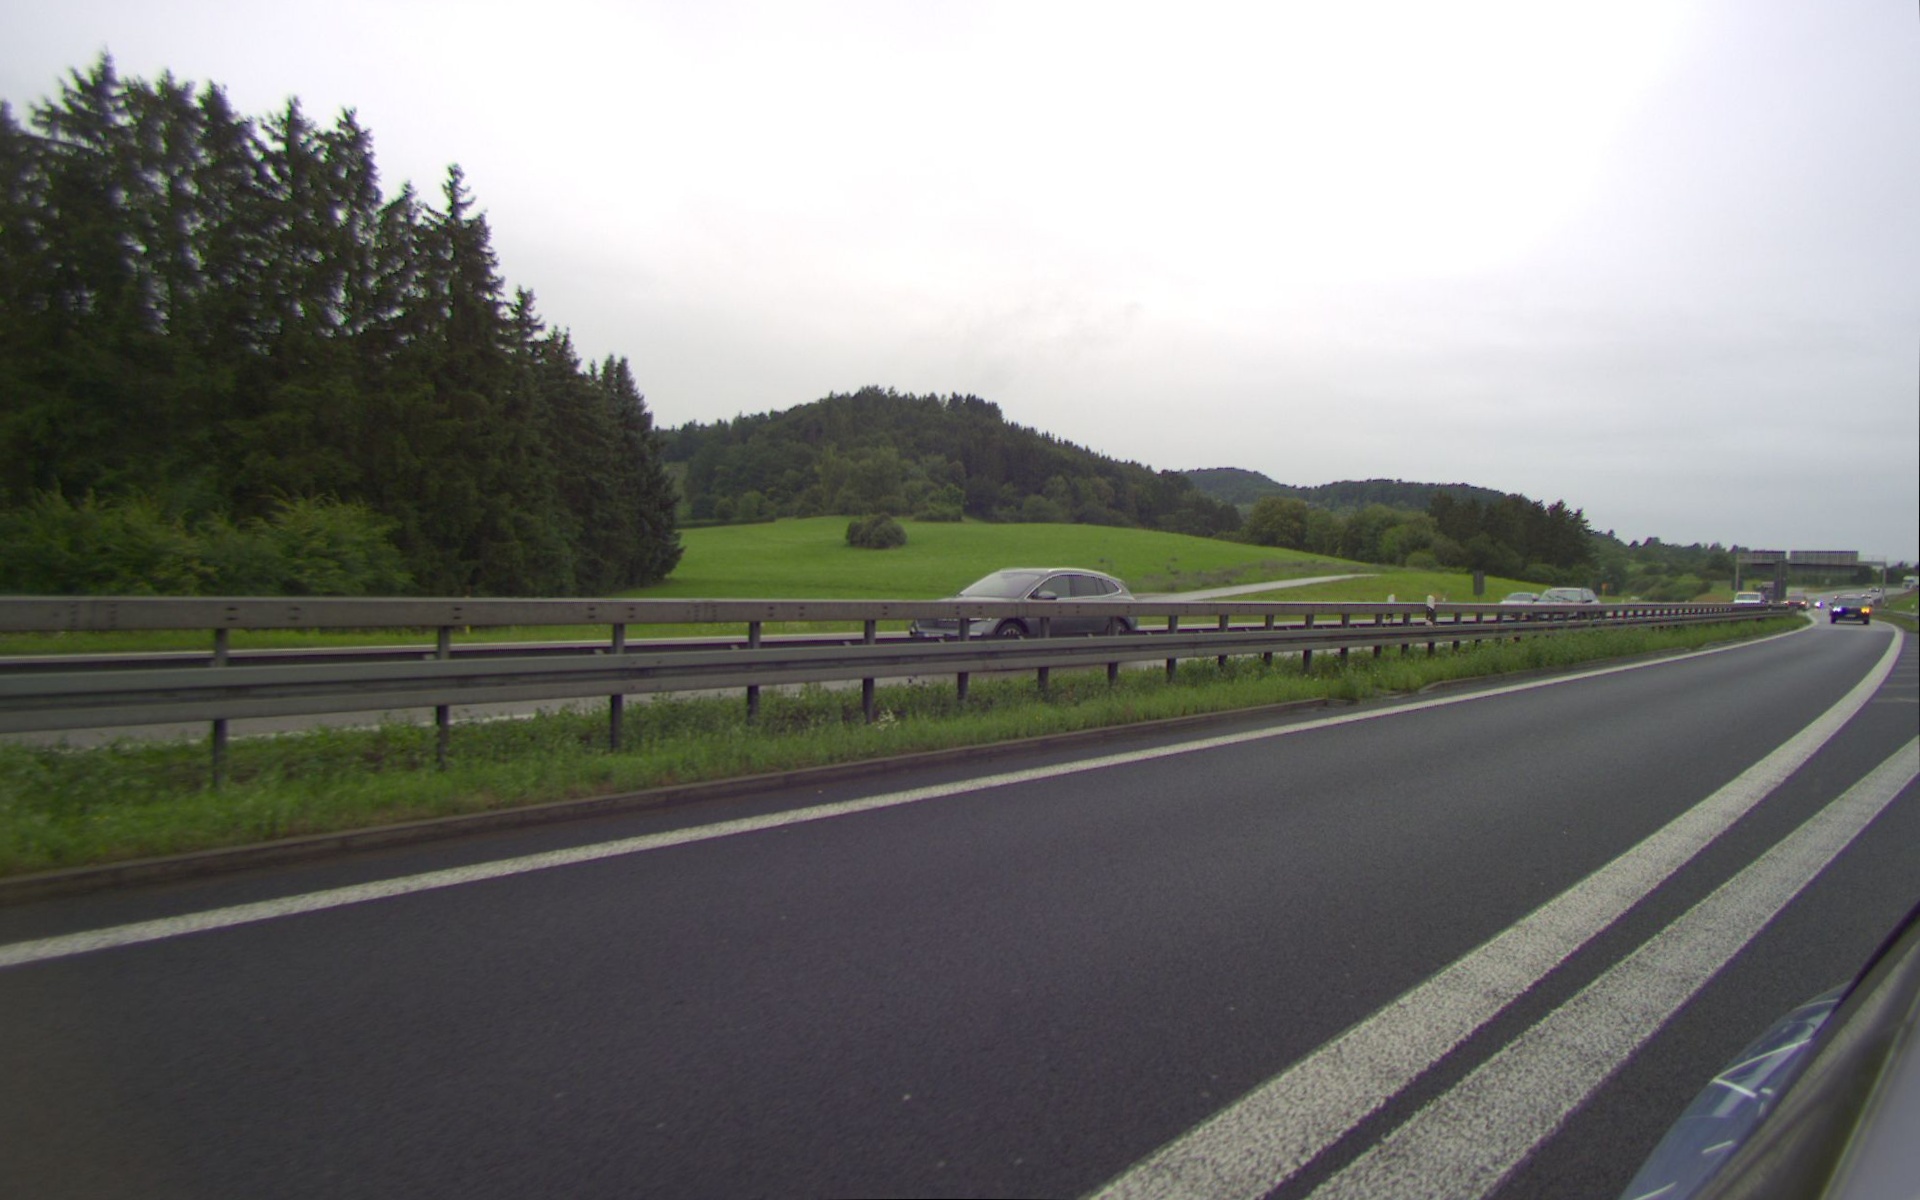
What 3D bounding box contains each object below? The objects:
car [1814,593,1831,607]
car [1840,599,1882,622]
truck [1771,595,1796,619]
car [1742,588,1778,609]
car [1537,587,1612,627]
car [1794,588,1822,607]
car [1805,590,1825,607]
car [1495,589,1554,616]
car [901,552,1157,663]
[{"bbox_3d":[124.638,0.014,146.201,1.821,2.049,3.942,1,1,40],"label":"car"},{"bbox_3d":[58.198,0.641,65.406,1.860,1.374,4.501,1,1,40],"label":"car"},{"bbox_3d":[145.361,1.173,178.541,2.791,3.949,9.873,1,1,43],"label":"truck"},{"bbox_3d":[65.796,-0.135,83.233,1.909,1.715,4.645,1,1,43],"label":"car"},{"bbox_3d":[22.851,0.209,37.584,1.666,1.400,4.063,1,1,42],"label":"car"},{"bbox_3d":[96.547,-0.312,115.228,2.124,2.039,4.998,1,1,43],"label":"car"},{"bbox_3d":[109.659,-0.209,129.743,1.822,2.049,3.939,1,1,42],"label":"car"},{"bbox_3d":[32.550,0.124,58.329,1.899,1.473,4.636,1,1,44],"label":"car"},{"bbox_3d":[1.296,0.078,17.116,4.568,1.630,1.771,0,1,-45],"label":"car"}]
